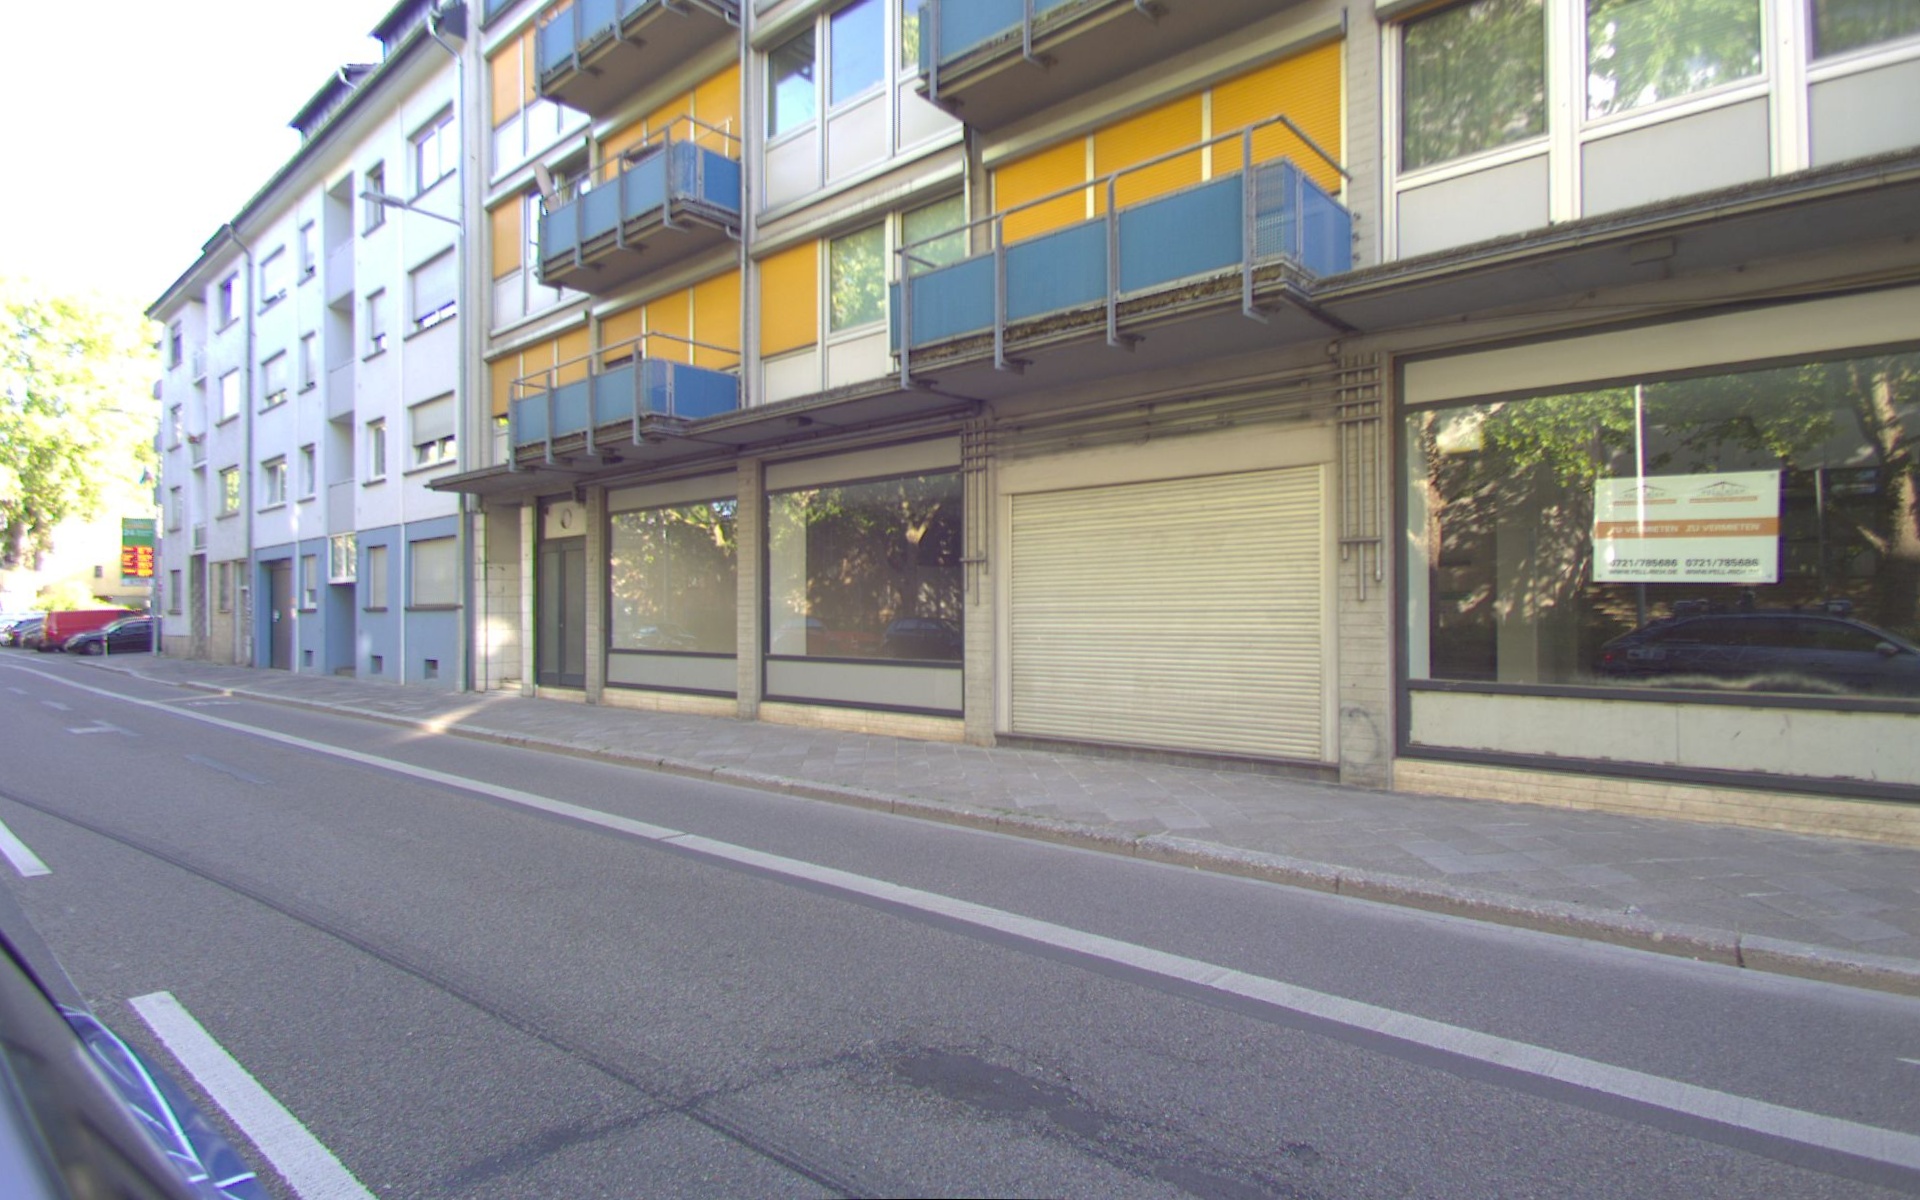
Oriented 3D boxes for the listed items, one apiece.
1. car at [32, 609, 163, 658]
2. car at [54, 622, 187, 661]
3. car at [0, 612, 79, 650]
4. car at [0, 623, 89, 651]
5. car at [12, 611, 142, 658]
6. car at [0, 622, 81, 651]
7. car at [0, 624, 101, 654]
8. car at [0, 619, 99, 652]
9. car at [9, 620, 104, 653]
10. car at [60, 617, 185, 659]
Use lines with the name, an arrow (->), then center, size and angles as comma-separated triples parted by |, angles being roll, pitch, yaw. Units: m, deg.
car -> -40.561, 1.550, 47.663 | 2.145, 1.966, 4.375 | -2, 1, 41
car -> -36.643, 1.776, 44.234 | 2.045, 1.390, 4.184 | -1, 1, 41
car -> -59.402, 1.950, 64.401 | 2.139, 2.233, 4.794 | -1, 1, 41
car -> -54.383, 2.182, 59.984 | 1.852, 1.444, 3.945 | -2, 0, 41
car -> -42.806, 1.624, 49.128 | 2.056, 1.966, 4.475 | -2, 1, 41
car -> -56.028, 2.203, 61.331 | 1.852, 1.571, 3.945 | -2, 0, 41
car -> -50.374, 2.112, 56.108 | 1.915, 1.466, 3.945 | -2, 0, 41
car -> -52.499, 2.018, 58.298 | 2.027, 1.696, 4.150 | -1, 0, 41
car -> -48.825, 1.951, 54.735 | 1.830, 1.524, 3.647 | -1, 1, 41
car -> -38.057, 1.697, 46.057 | 1.886, 1.575, 4.129 | -1, 1, 41
